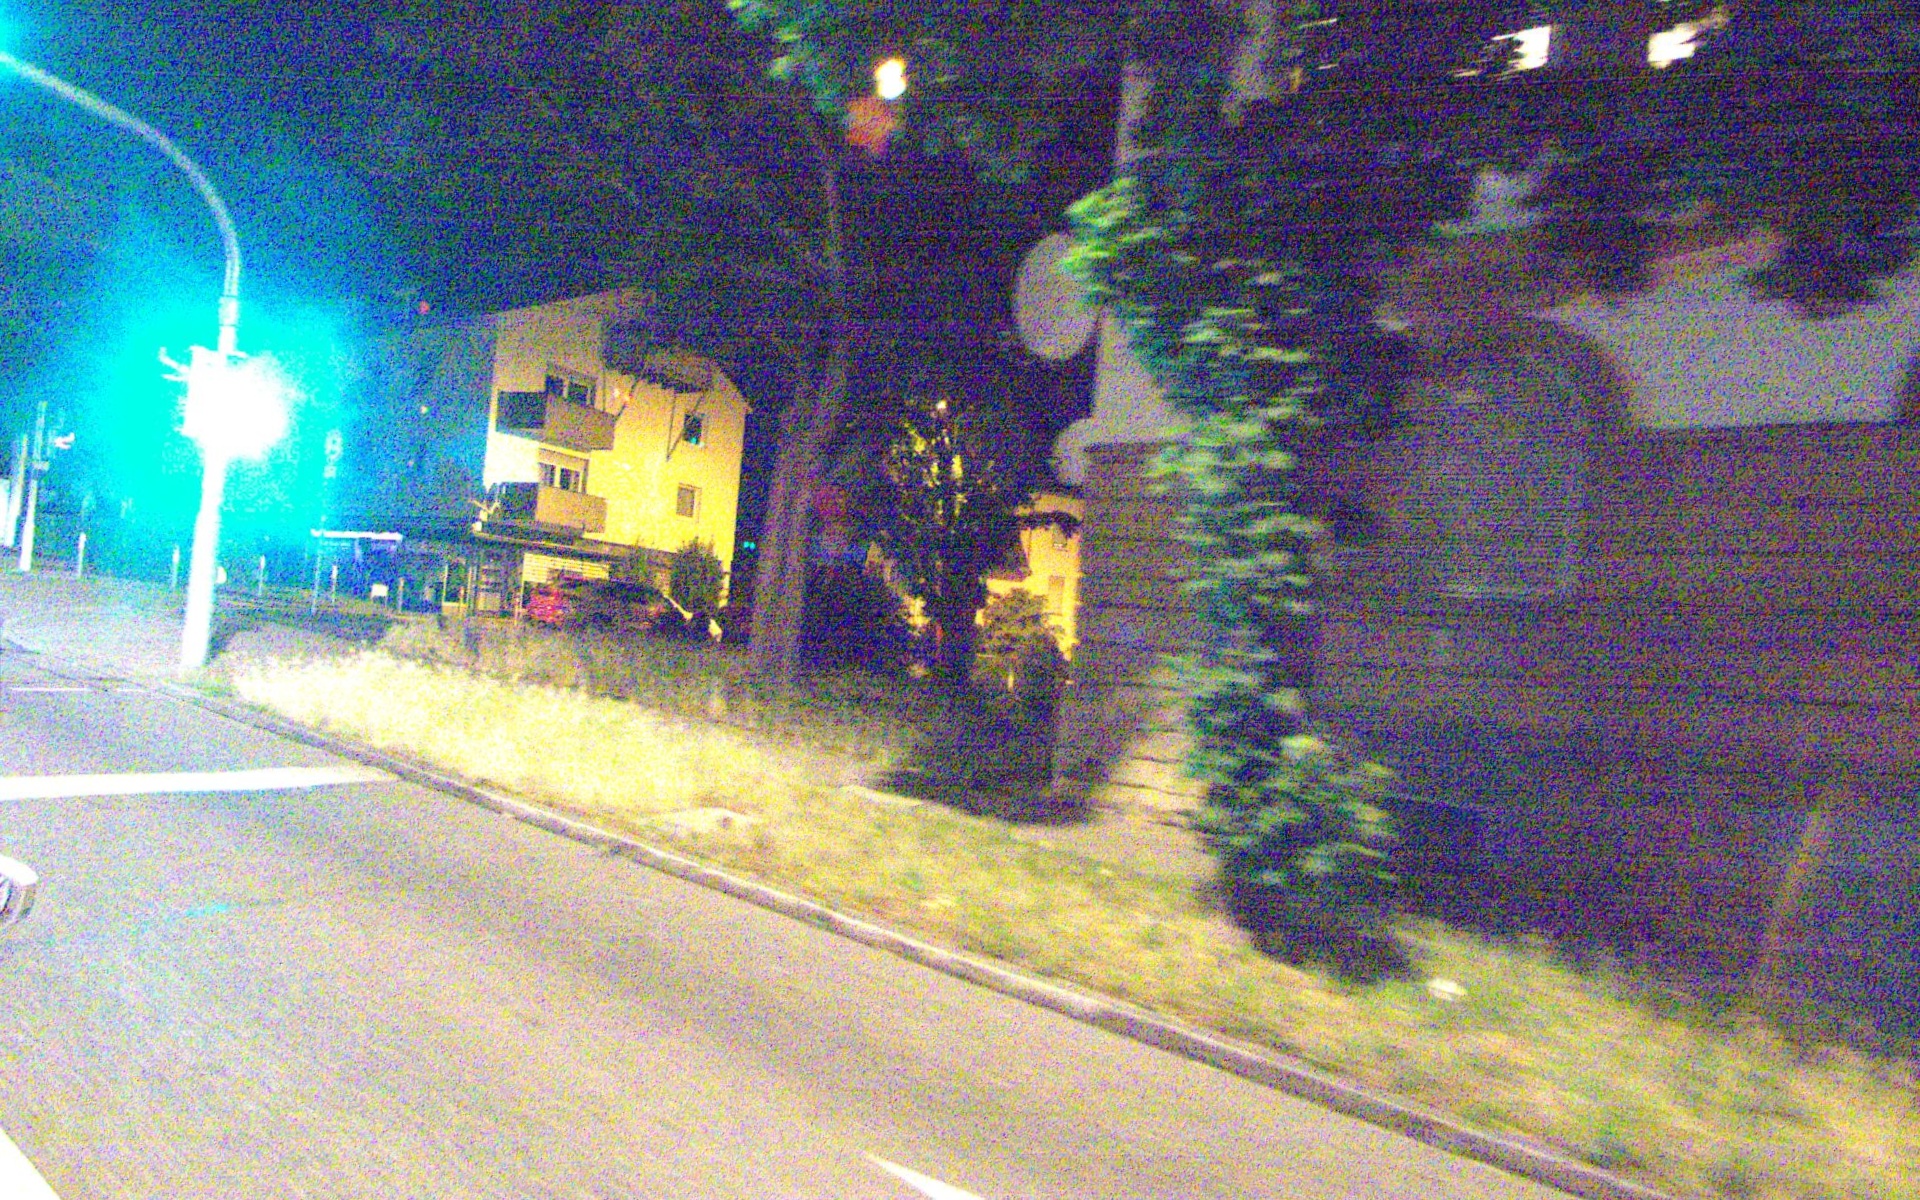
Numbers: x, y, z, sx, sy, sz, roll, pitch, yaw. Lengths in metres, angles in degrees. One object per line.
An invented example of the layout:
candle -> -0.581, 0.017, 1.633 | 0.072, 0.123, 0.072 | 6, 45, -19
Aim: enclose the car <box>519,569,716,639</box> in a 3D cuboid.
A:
car -> -8.140, 0.137, 24.195 | 1.740, 1.296, 4.126 | 6, 0, 39
